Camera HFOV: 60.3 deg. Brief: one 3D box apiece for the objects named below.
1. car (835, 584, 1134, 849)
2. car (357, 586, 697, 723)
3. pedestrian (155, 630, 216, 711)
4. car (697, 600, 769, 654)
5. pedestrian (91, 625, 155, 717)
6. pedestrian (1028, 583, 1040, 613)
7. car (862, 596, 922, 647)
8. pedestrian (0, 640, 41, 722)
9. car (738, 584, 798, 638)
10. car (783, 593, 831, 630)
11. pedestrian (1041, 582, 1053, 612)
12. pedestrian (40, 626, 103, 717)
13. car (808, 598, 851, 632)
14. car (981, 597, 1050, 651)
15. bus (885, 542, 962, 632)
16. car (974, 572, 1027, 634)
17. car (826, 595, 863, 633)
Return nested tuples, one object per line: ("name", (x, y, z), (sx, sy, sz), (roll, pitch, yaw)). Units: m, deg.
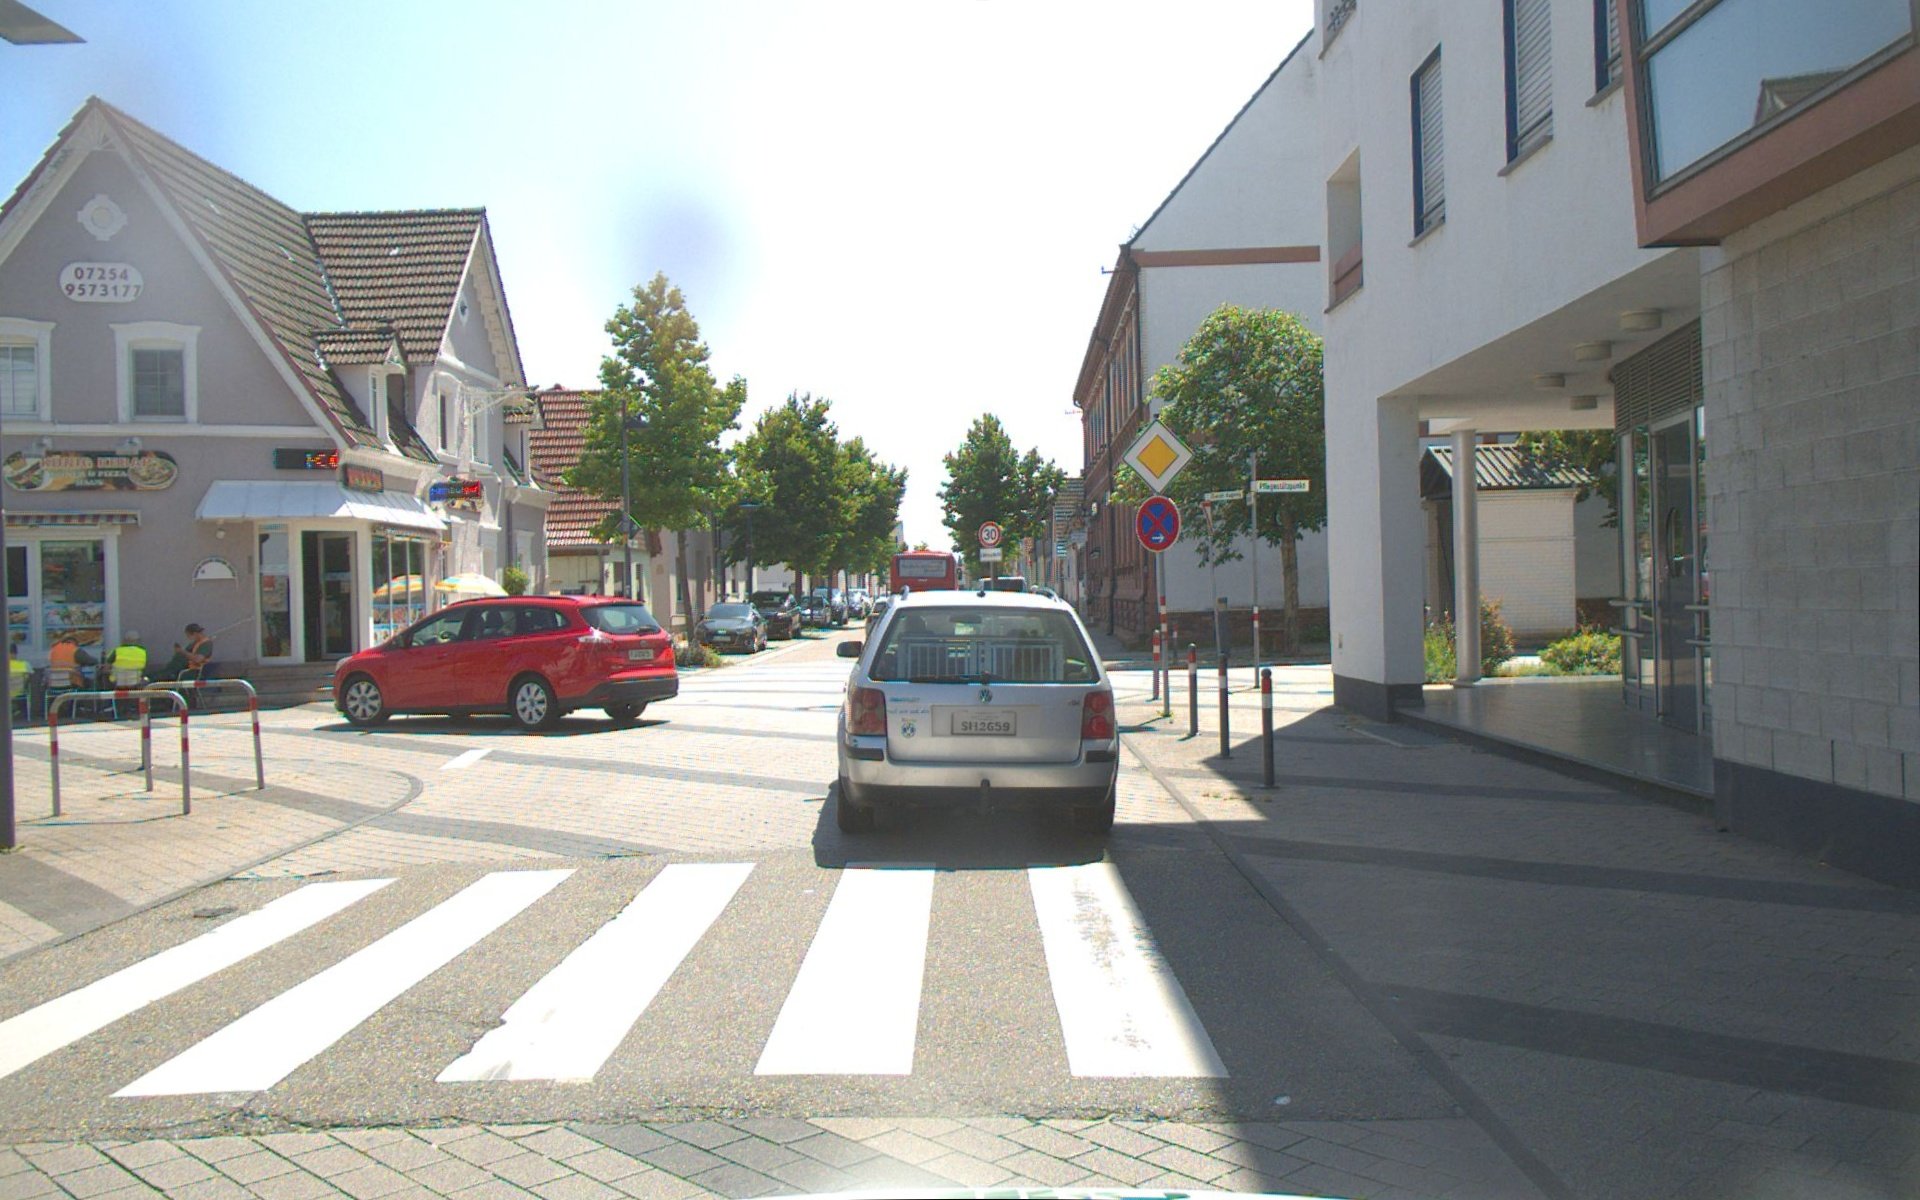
("car", (0.137, 0.636, 10.928), (1.642, 1.455, 3.679), (0, 0, 0))
("car", (-5.033, 0.620, 19.196), (3.596, 1.455, 1.681), (-2, 0, 27))
("pedestrian", (-11.877, 1.068, 25.387), (0.609, 1.199, 0.696), (-2, 0, -4))
("car", (-6.678, 0.769, 49.013), (1.572, 1.463, 4.065), (-2, 0, 0))
("pedestrian", (-12.316, 1.032, 24.325), (0.631, 1.311, 0.777), (1, -1, -43))
("pedestrian", (4.269, -0.113, 95.421), (0.594, 1.696, 0.789), (-1, 0, -2))
("car", (-1.966, 0.610, 48.901), (1.561, 1.455, 3.680), (0, 0, 1))
("pedestrian", (-13.664, 1.148, 23.747), (0.631, 1.135, 0.777), (1, -1, -43))
("car", (-7.010, 0.397, 60.621), (1.728, 1.870, 3.788), (-2, 0, 0))
("car", (-6.962, 0.521, 75.491), (1.774, 1.586, 4.000), (-2, 0, 0))
("pedestrian", (4.992, -0.169, 95.126), (0.594, 1.696, 0.789), (-1, 0, -2))
("pedestrian", (-13.194, 1.045, 24.565), (0.631, 1.311, 0.777), (1, -1, -43))
("car", (-6.458, 0.712, 82.074), (1.774, 1.586, 4.000), (-2, 0, 0))
("car", (1.444, 0.622, 44.354), (1.684, 1.332, 3.625), (-2, 0, 0))
("bus", (-1.357, -0.475, 68.250), (2.684, 3.356, 12.705), (-1, 0, 1))
("car", (1.445, 0.098, 59.618), (1.751, 2.118, 3.625), (-2, 0, 0))
("car", (-6.571, 0.784, 94.219), (1.774, 2.030, 4.000), (-2, 0, 0))
